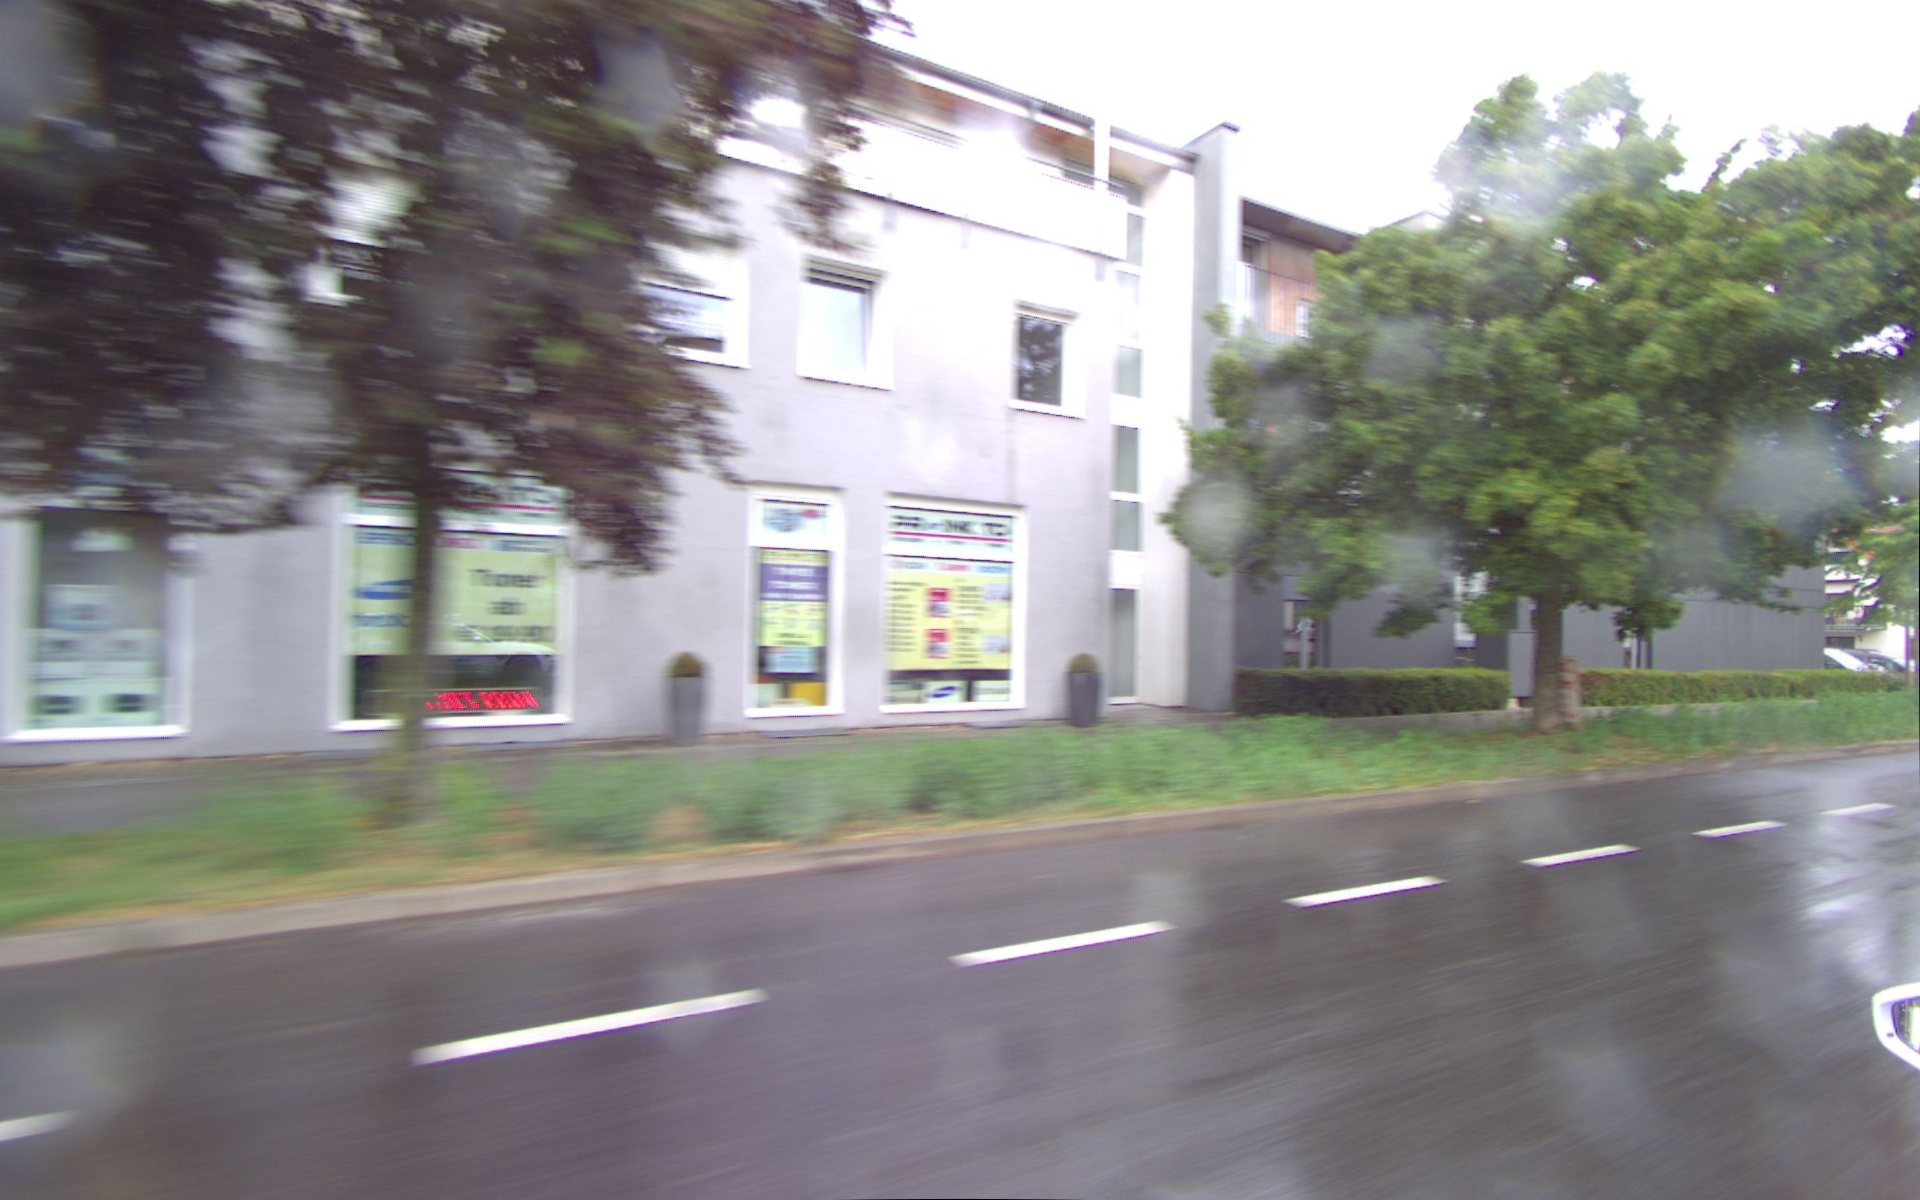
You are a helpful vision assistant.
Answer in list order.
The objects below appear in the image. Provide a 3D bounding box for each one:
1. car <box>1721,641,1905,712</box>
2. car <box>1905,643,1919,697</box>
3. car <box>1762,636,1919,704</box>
[{"bbox_3d":[29.081,2.543,34.392,2.129,2.040,4.374,0,0,-31],"label":"car"},{"bbox_3d":[22.034,1.499,21.083,1.453,1.174,2.897,2,-3,-28],"label":"car"},{"bbox_3d":[18.785,1.398,20.172,1.562,1.301,3.885,2,-3,-28],"label":"car"}]
